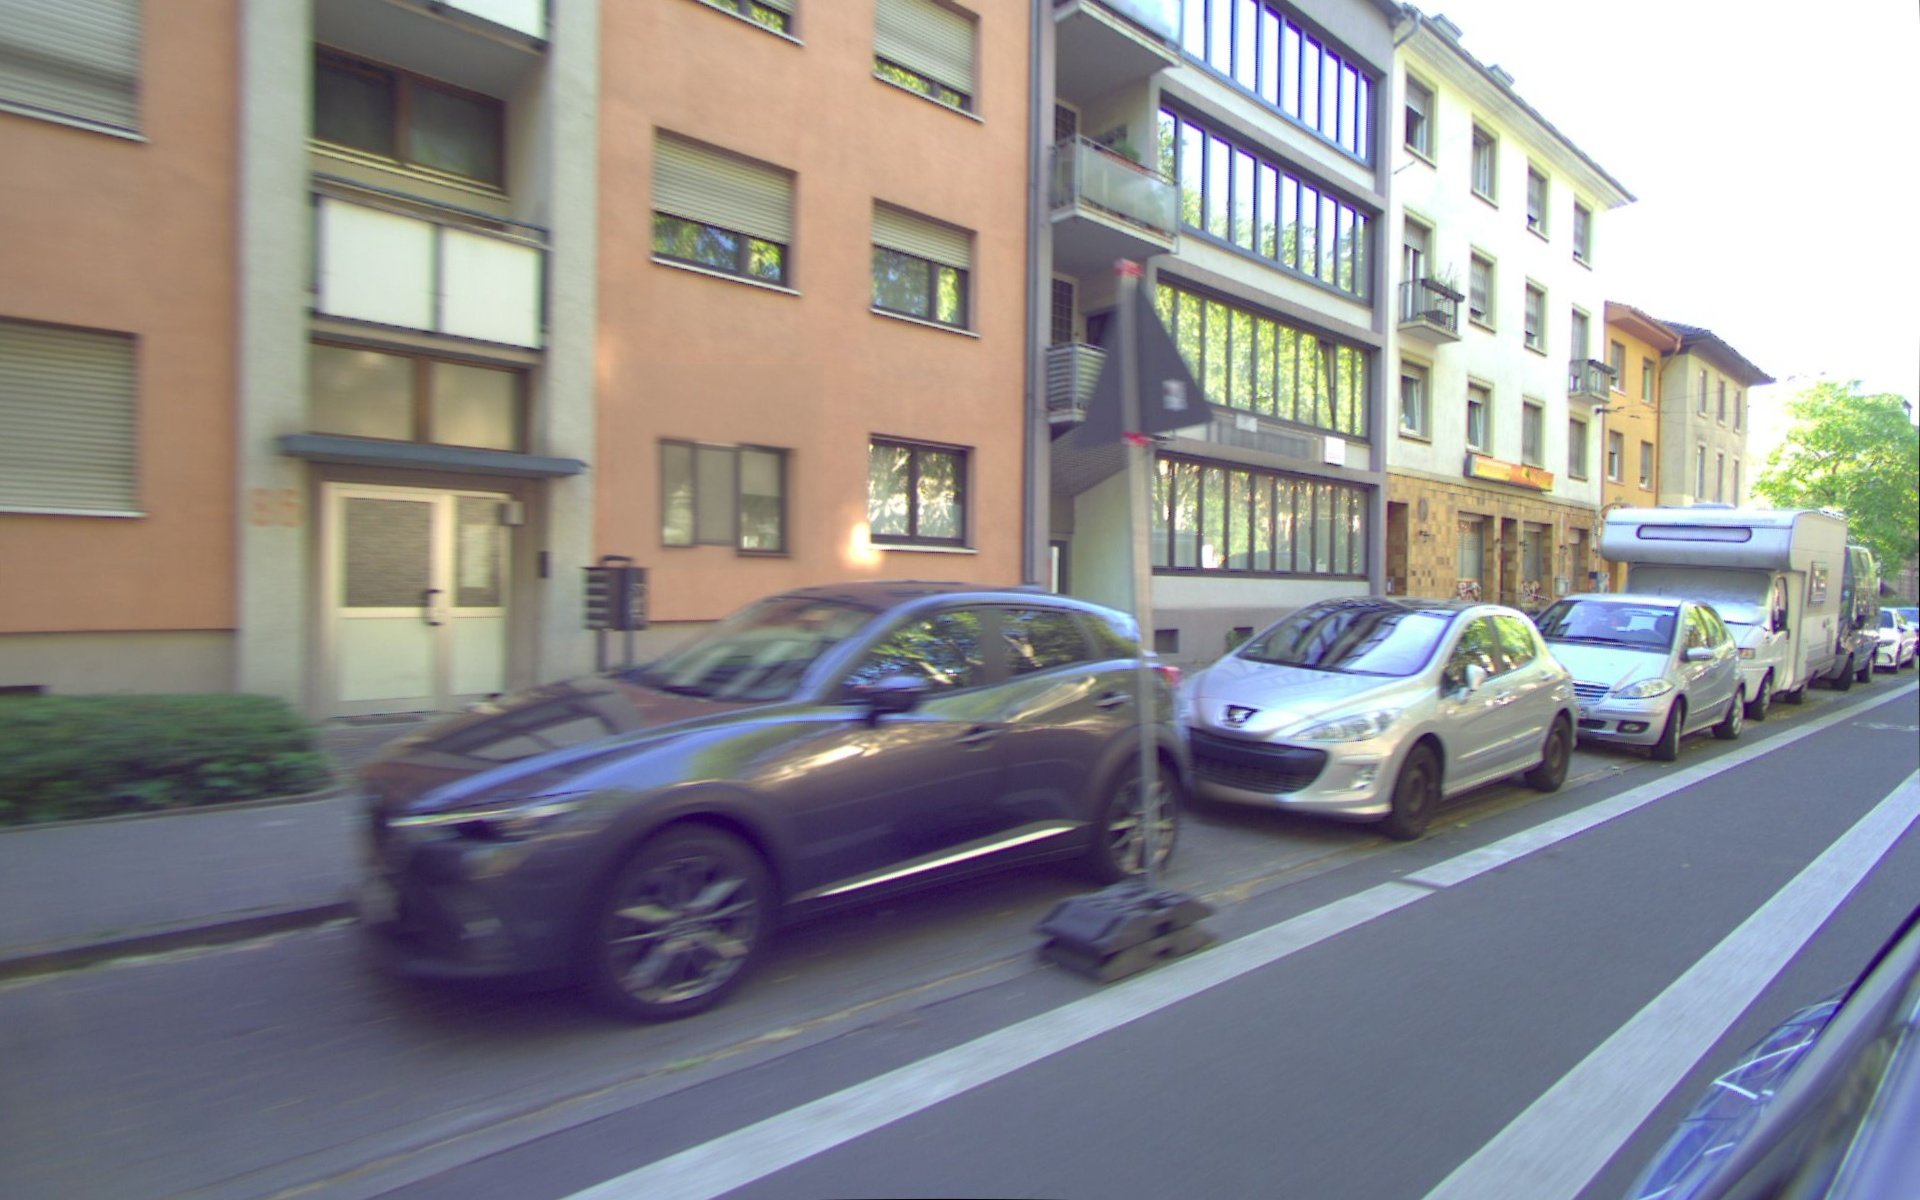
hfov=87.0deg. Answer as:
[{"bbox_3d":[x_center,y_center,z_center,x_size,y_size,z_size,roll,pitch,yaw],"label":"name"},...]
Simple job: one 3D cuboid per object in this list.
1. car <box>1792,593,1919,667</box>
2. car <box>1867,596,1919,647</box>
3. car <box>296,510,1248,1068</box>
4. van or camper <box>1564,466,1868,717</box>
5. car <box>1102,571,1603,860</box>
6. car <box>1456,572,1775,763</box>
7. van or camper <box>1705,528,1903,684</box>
[{"bbox_3d":[21.743,0.649,24.211,4.656,1.512,1.998,0,3,-40],"label":"car"},{"bbox_3d":[29.280,0.638,30.725,4.657,1.397,1.998,0,3,-41],"label":"car"},{"bbox_3d":[-0.588,0.491,4.951,4.261,1.591,1.771,0,3,-41],"label":"car"},{"bbox_3d":[11.729,-0.176,15.479,6.160,3.101,2.466,0,3,-42],"label":"van or camper"},{"bbox_3d":[3.159,0.616,7.685,4.248,1.540,1.791,0,3,-42],"label":"car"},{"bbox_3d":[7.287,0.585,11.090,4.202,1.648,1.796,0,3,-41],"label":"car"},{"bbox_3d":[16.650,0.044,19.874,4.892,2.695,2.137,0,3,-41],"label":"van or camper"}]
